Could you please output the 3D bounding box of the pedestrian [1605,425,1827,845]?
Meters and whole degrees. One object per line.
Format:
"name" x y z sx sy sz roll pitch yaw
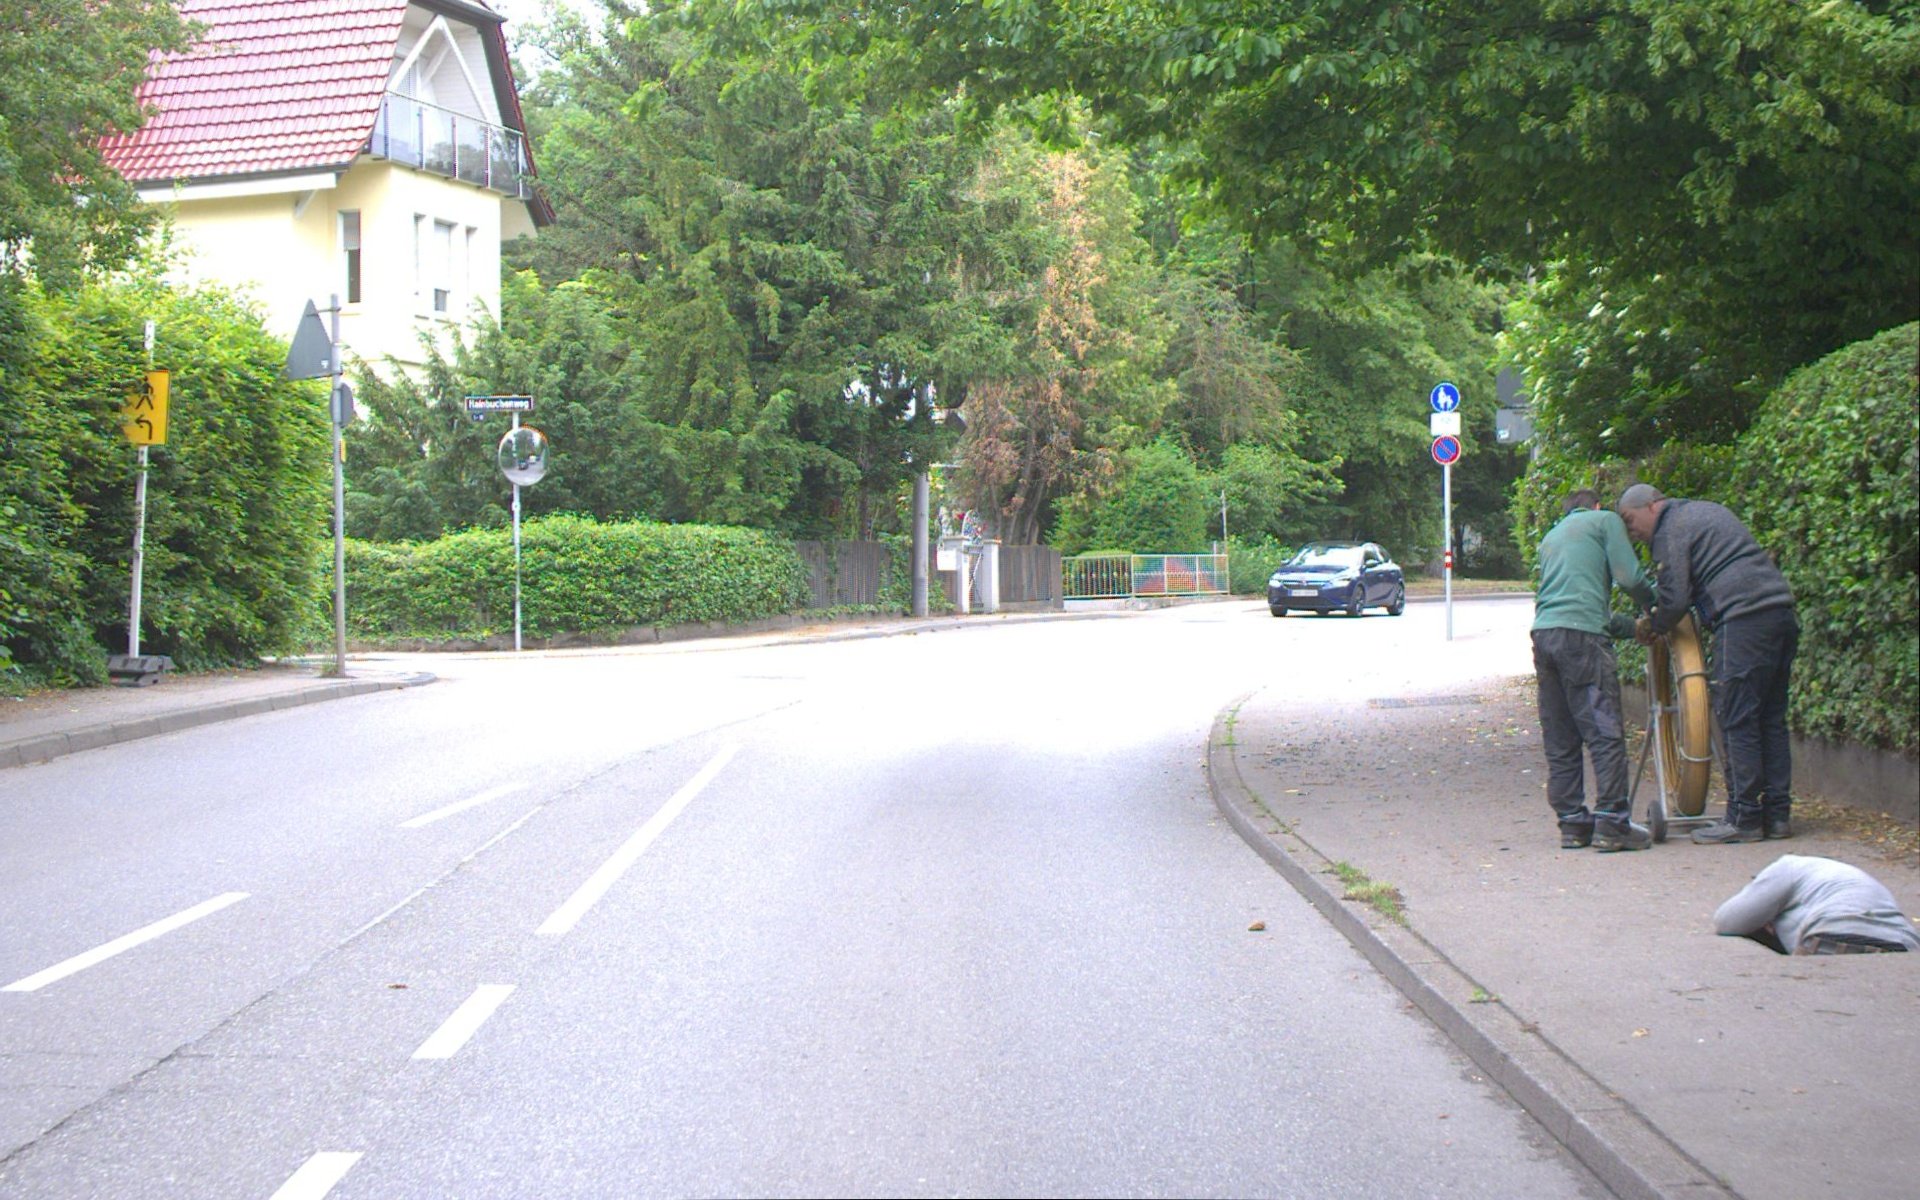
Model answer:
"pedestrian" 3.347 0.141 15.225 0.689 1.801 0.673 -1 1 -41

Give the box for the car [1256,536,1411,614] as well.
"car" 7.167 -0.496 65.642 1.759 1.434 4.088 0 1 24

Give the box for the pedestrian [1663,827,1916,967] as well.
"pedestrian" 2.801 1.001 11.668 0.672 0.392 0.741 -1 1 -1

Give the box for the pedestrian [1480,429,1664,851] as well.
"pedestrian" 2.679 0.167 15.054 0.601 1.801 0.517 0 1 41
